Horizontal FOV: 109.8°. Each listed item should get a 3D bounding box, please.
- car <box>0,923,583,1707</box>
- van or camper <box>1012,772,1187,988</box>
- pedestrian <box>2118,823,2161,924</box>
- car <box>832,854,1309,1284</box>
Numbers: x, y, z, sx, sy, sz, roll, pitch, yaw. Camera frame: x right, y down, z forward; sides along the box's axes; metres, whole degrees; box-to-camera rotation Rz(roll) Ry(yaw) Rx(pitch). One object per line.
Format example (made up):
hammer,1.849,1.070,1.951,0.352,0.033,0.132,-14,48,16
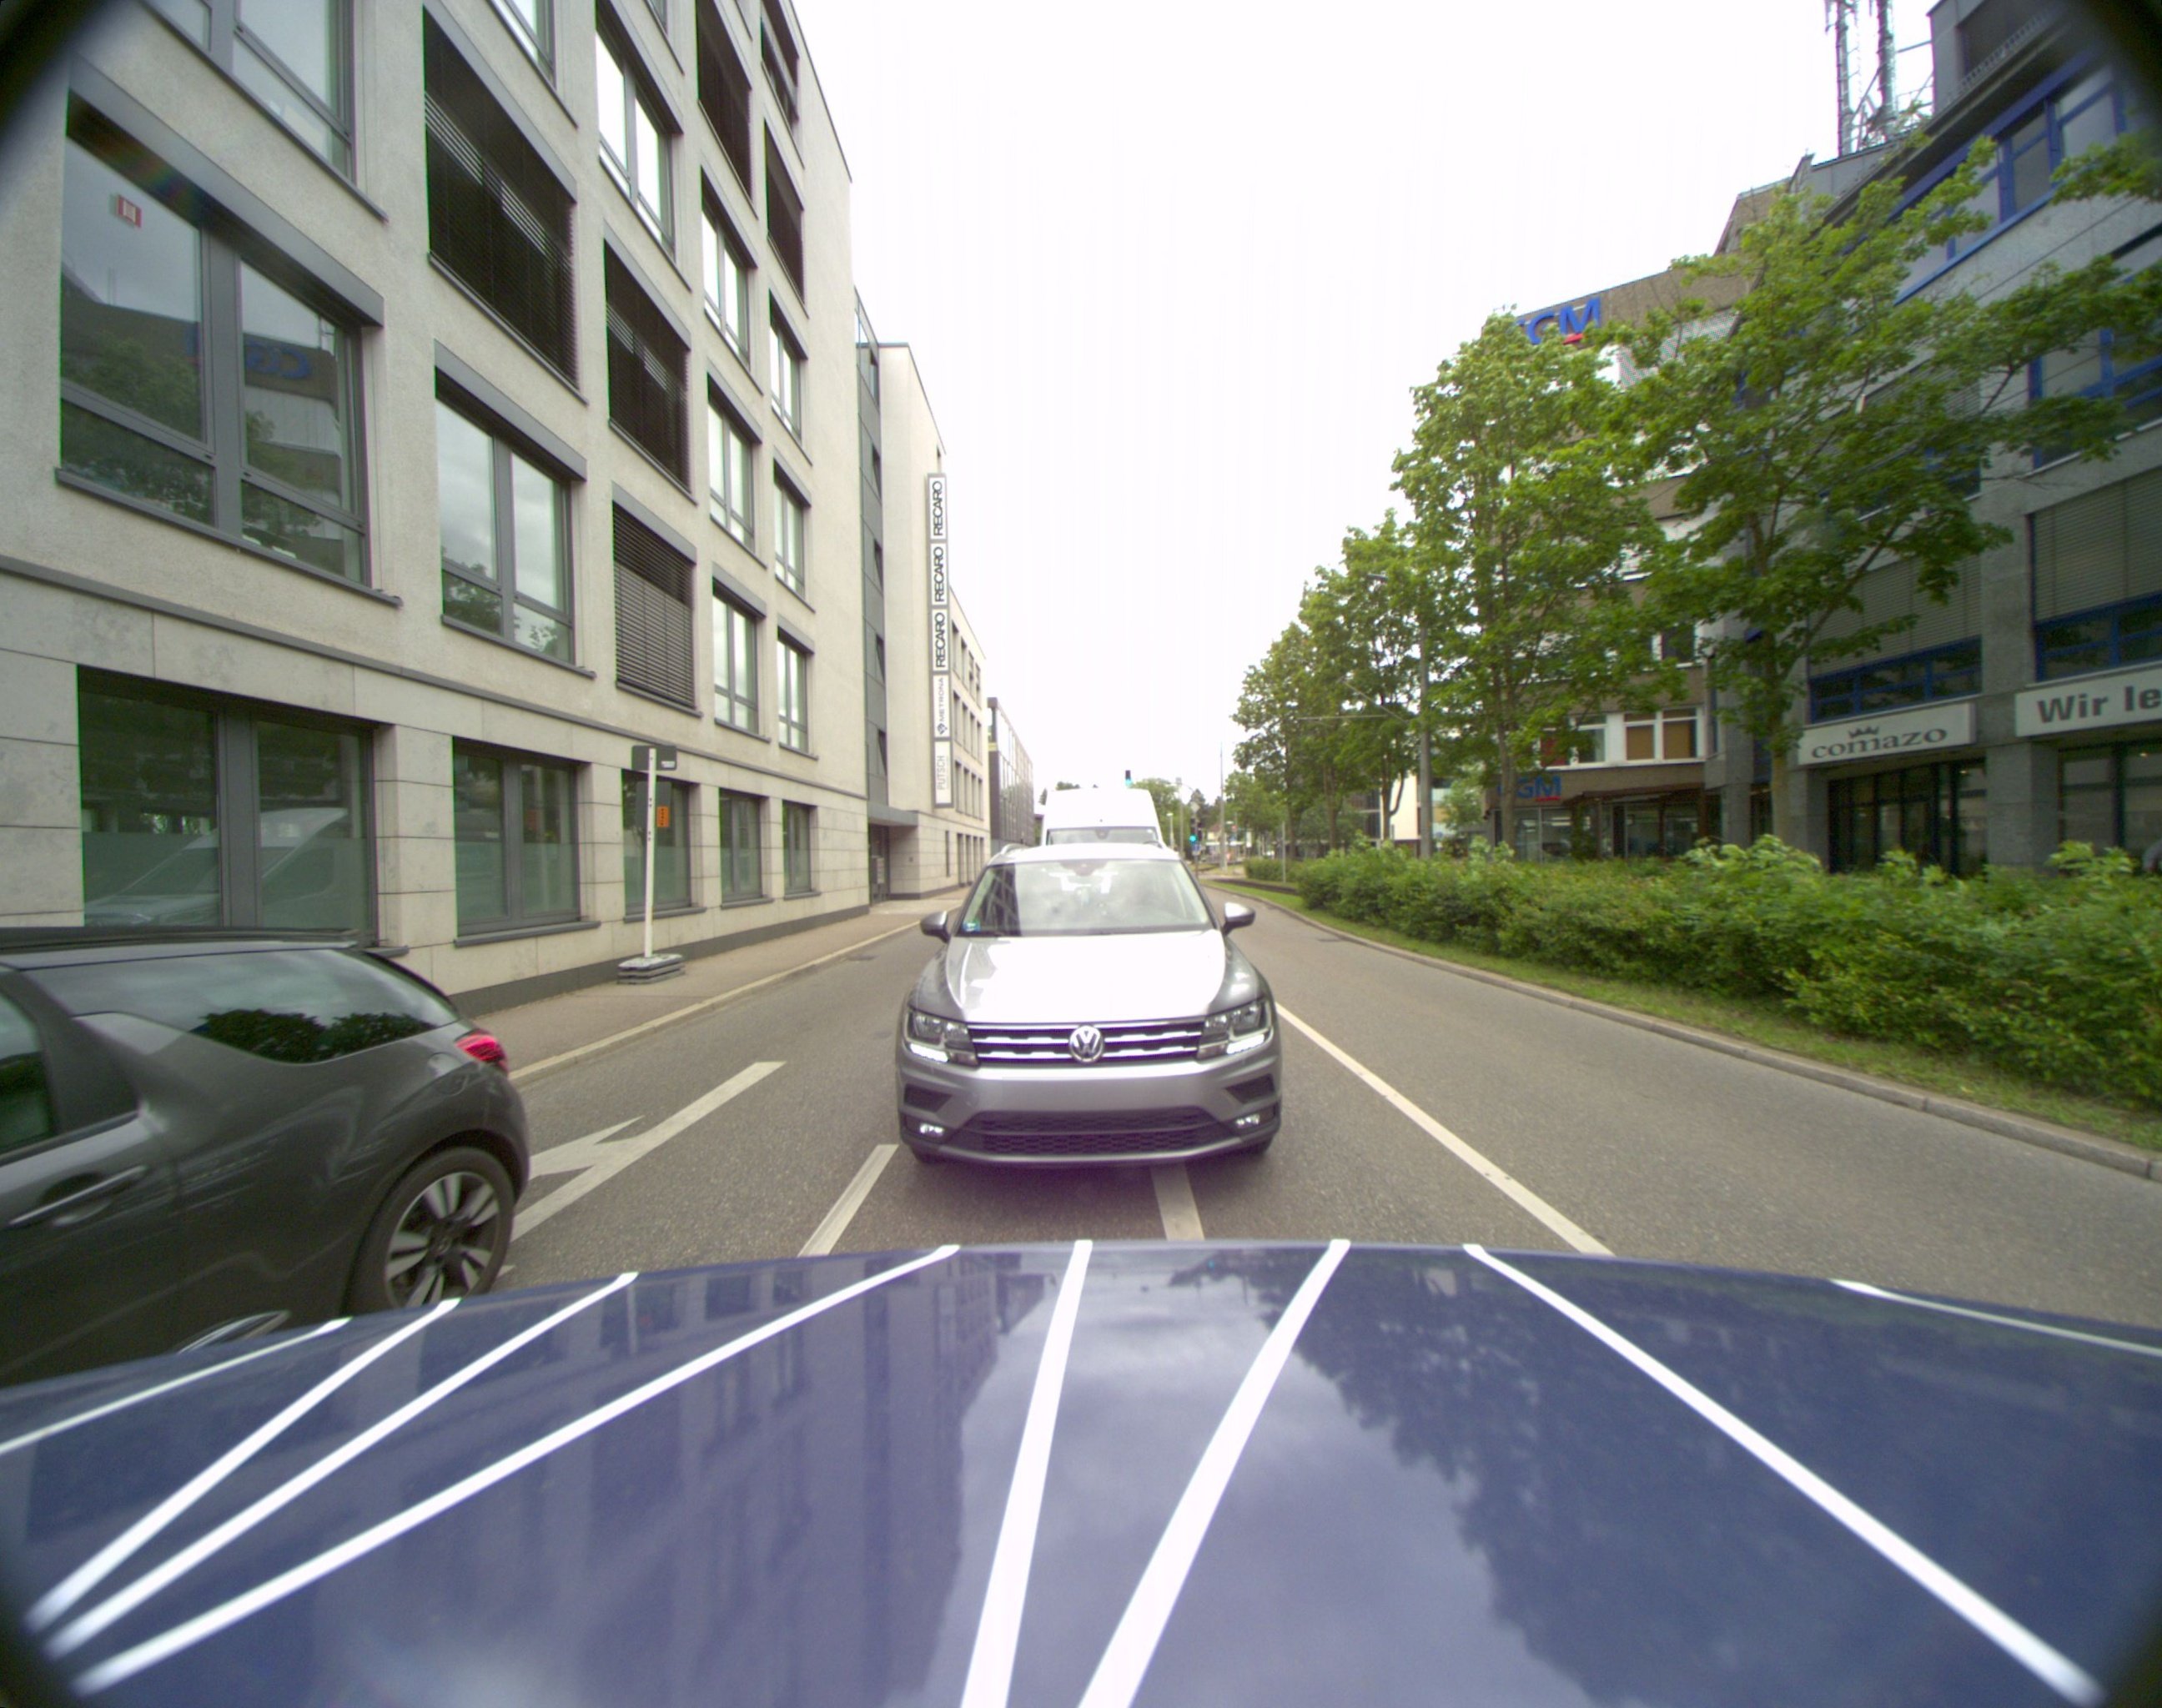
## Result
car,-2.979,1.064,1.162,1.705,1.452,4.062,-3,0,0
van or camper,0.231,0.329,12.909,2.110,2.674,6.298,-3,0,0
pedestrian,16.226,0.277,11.268,0.699,1.474,0.679,-3,0,1
car,-0.012,0.870,5.220,1.833,1.636,4.326,-3,0,1
